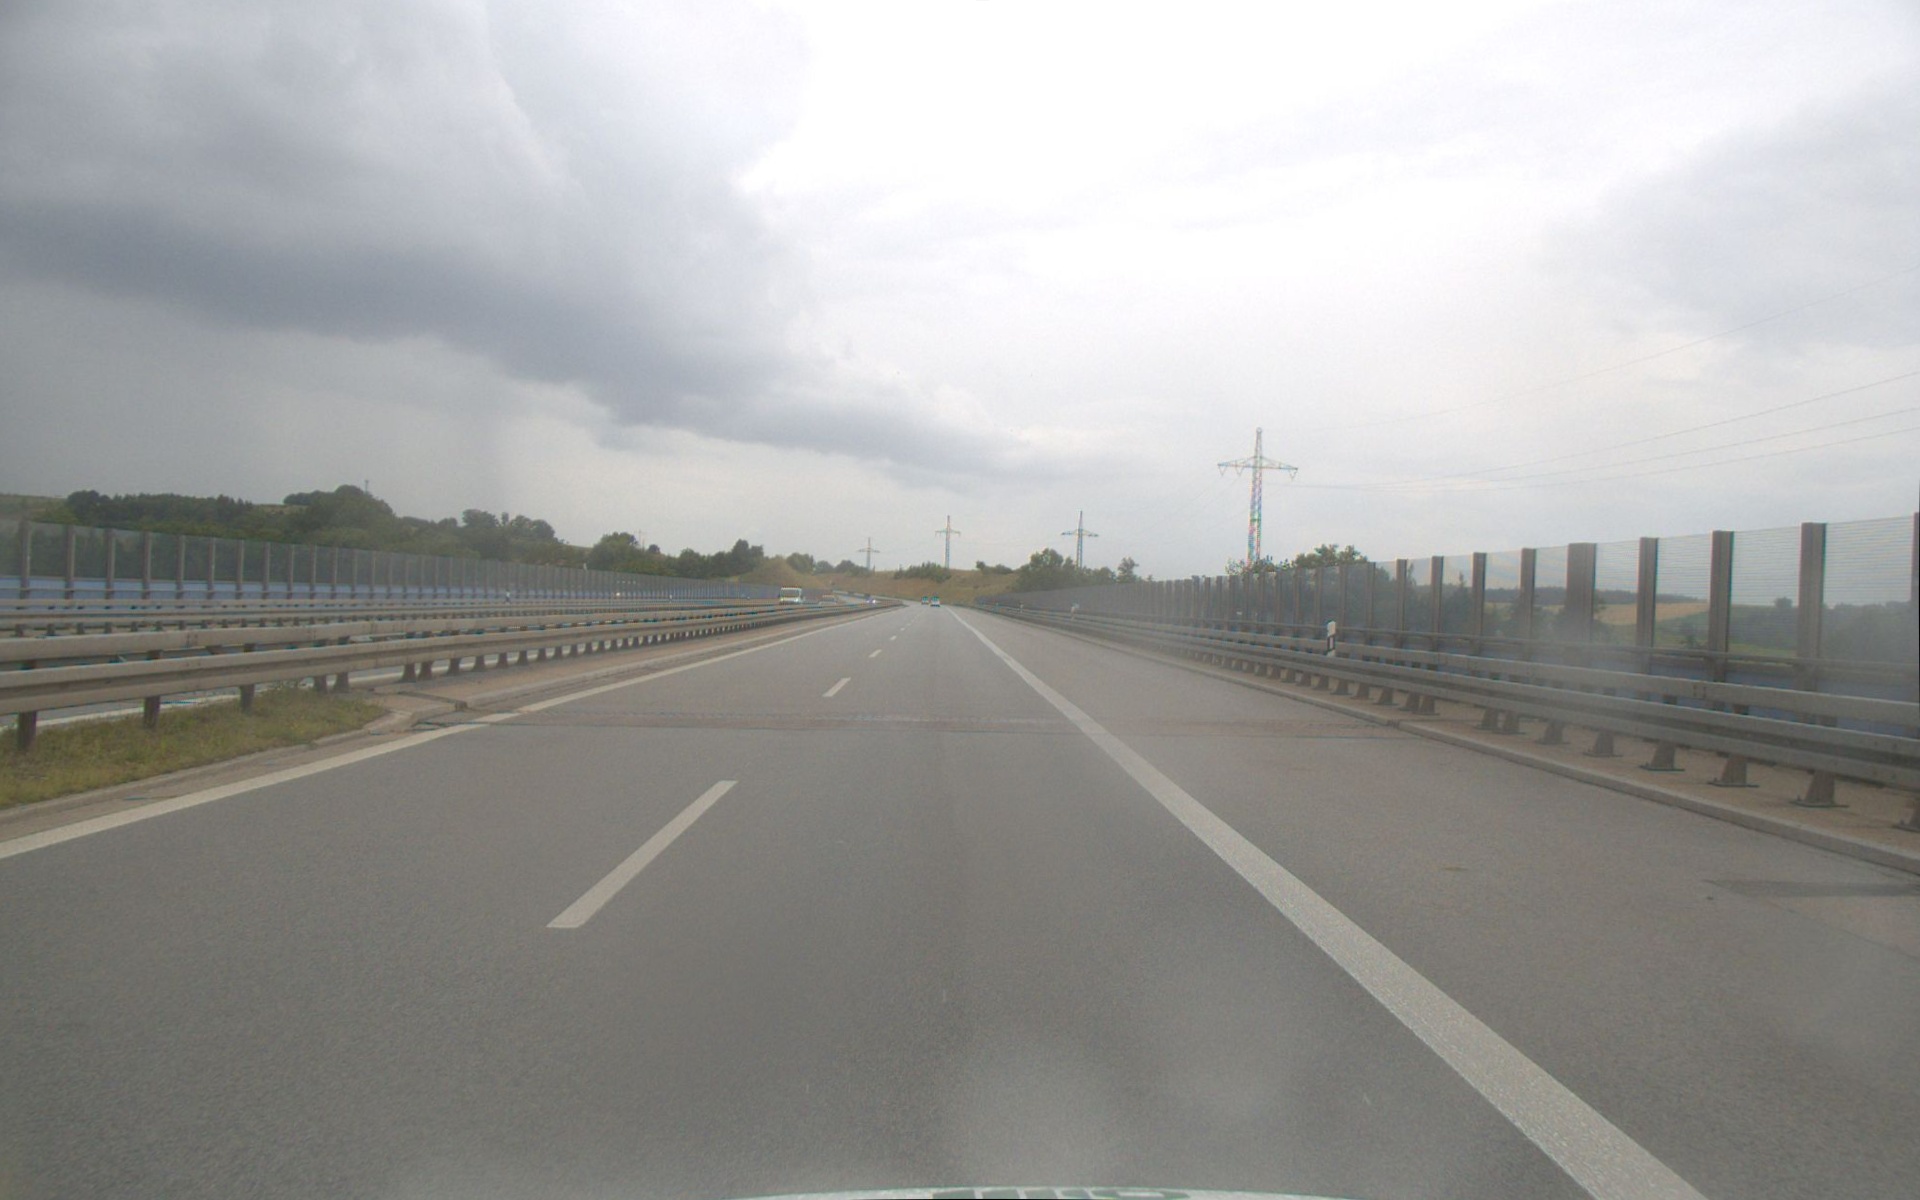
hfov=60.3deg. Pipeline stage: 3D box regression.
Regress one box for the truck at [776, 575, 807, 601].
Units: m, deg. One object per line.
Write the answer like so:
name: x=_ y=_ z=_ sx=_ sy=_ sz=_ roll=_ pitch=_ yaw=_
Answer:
truck: x=-16.240 y=-1.154 z=159.684 sx=2.226 sy=2.474 sz=7.450 roll=1 pitch=0 yaw=-1
